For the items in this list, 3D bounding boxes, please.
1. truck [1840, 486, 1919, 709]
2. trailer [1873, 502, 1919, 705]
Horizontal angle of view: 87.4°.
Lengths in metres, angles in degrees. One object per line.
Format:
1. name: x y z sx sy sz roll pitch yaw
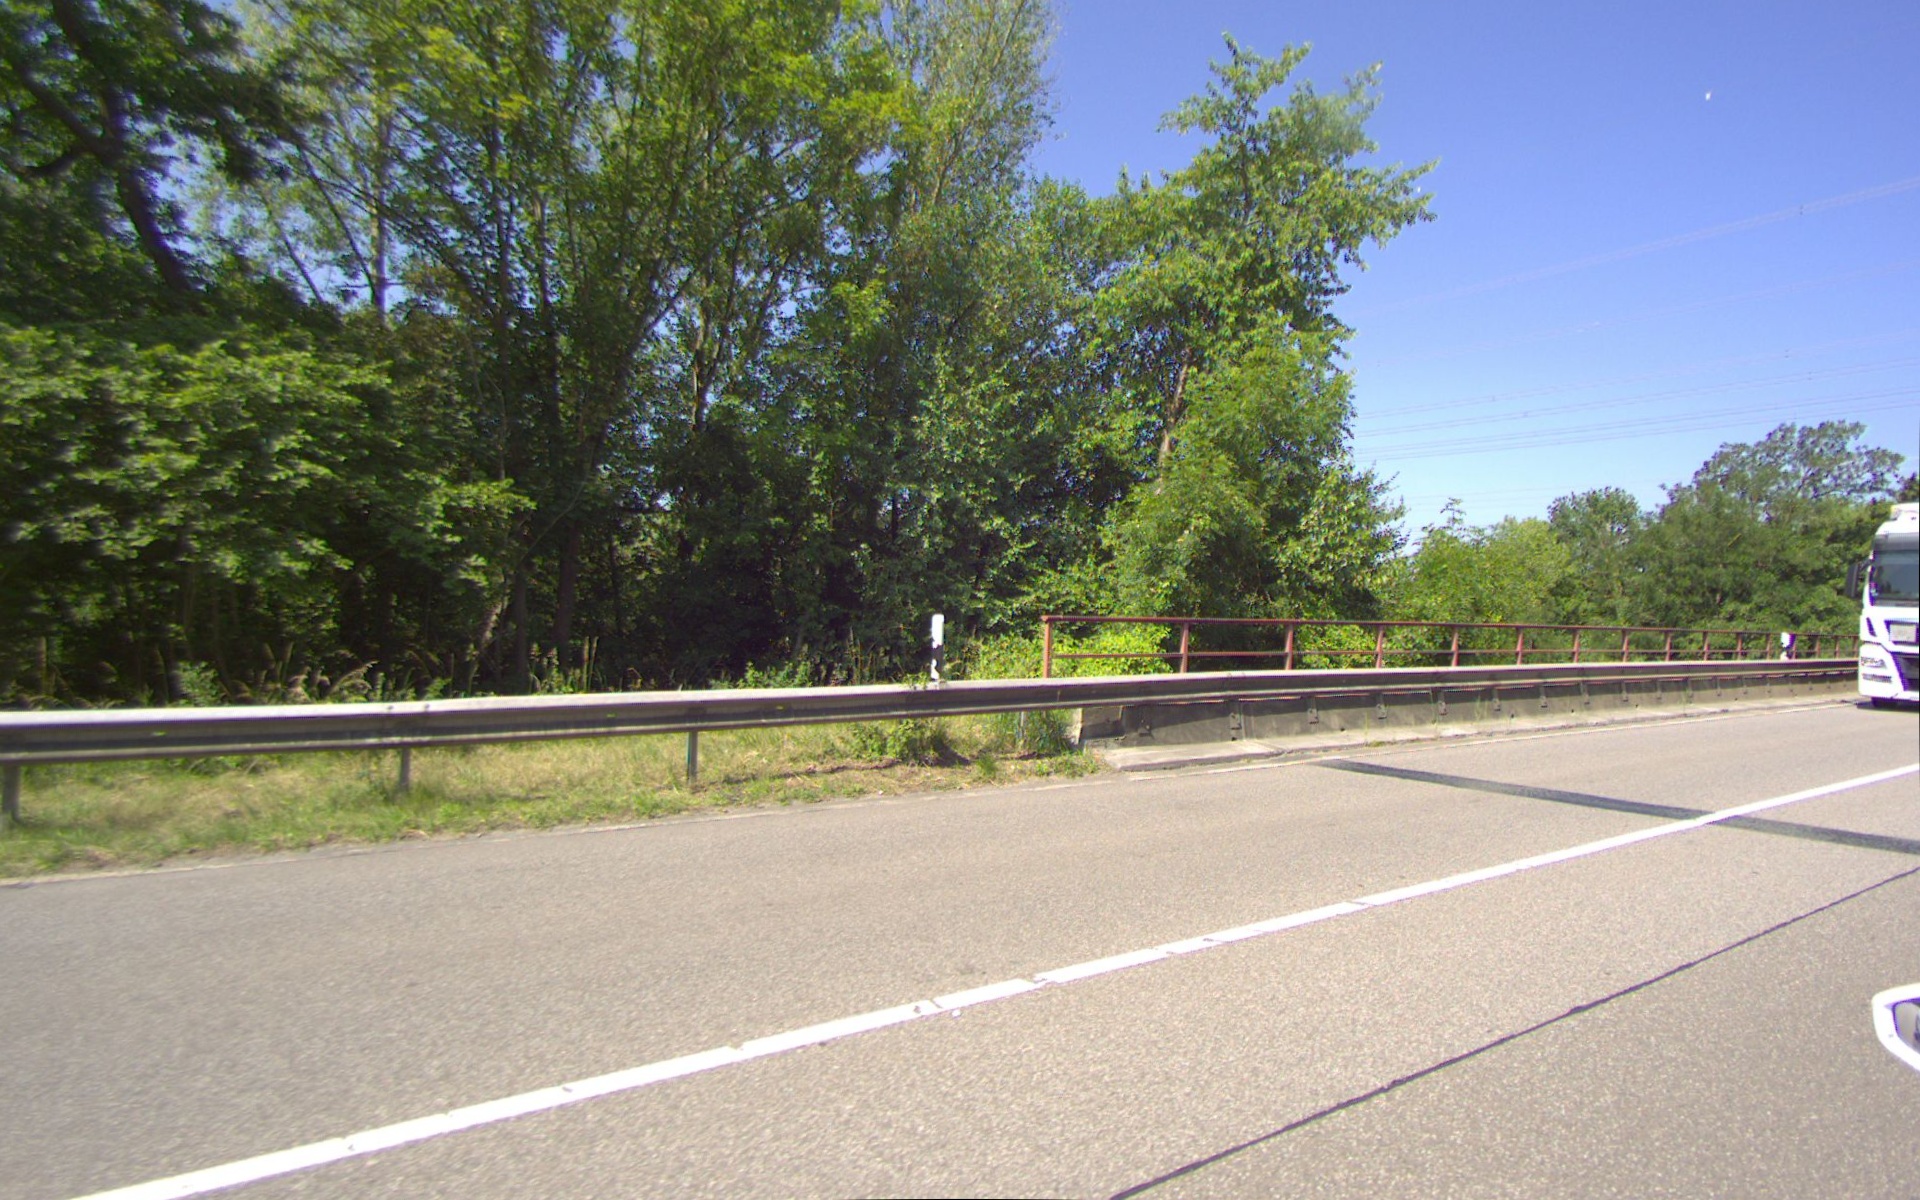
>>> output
1. truck: 20.003 0.046 19.938 5.802 4.087 2.748 2 -1 -37
2. trailer: 25.390 0.291 24.116 14.072 4.115 2.748 2 -2 -38
